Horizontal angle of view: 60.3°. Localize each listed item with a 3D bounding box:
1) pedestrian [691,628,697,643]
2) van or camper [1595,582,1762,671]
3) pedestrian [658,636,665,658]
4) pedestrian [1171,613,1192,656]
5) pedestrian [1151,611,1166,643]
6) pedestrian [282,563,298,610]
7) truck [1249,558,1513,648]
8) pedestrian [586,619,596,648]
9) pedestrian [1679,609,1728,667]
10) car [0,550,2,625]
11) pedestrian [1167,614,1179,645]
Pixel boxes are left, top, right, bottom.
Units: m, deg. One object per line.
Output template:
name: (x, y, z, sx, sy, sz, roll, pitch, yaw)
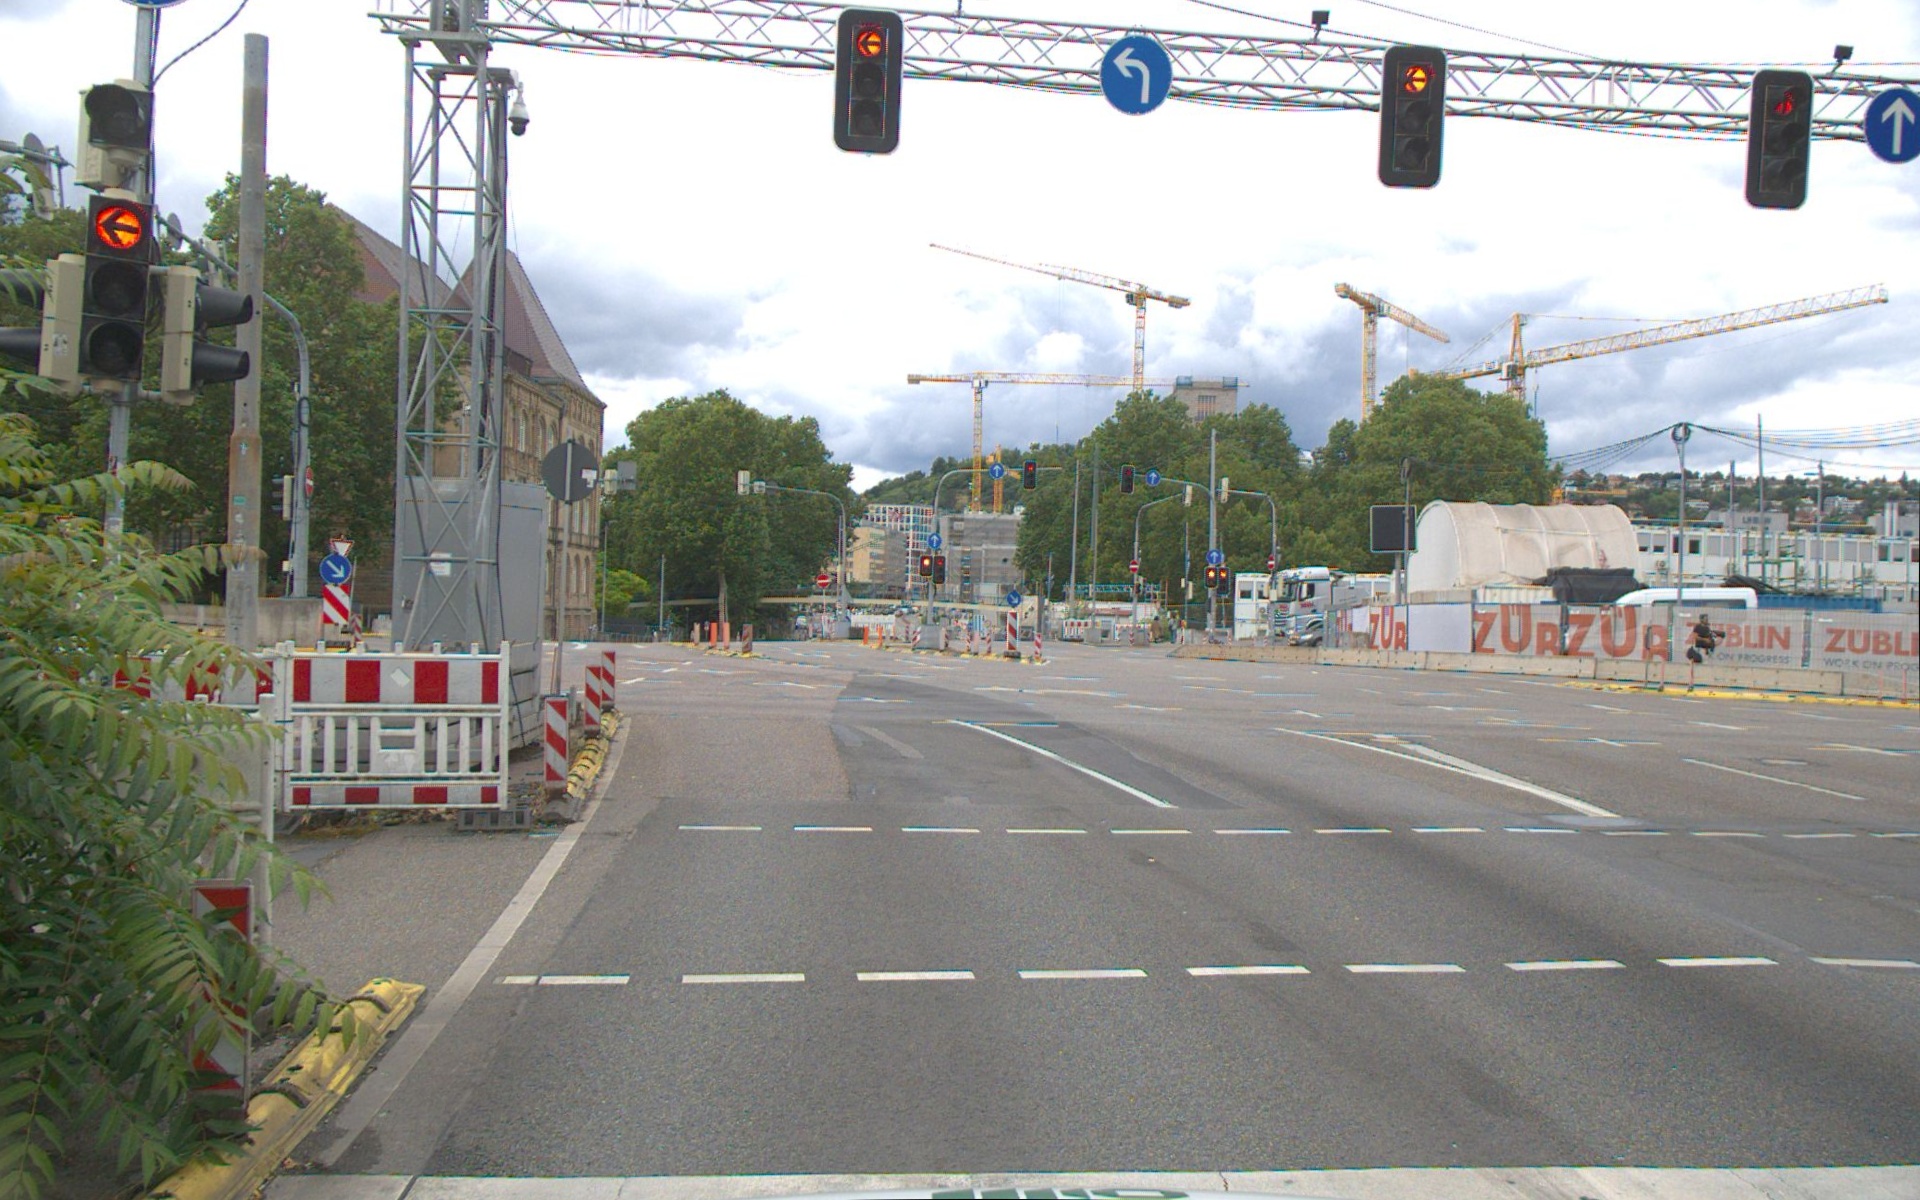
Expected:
pedestrian: (-28.345, 3.797, 176.204, 0.525, 1.620, 0.515, 1, 0, -5)
van or camper: (20.731, 0.747, 47.901, 4.123, 2.398, 2.001, 1, 0, 14)
pedestrian: (-27.737, 4.376, 153.590, 0.513, 2.049, 0.566, 1, 0, -1)
pedestrian: (9.068, 1.411, 67.602, 0.714, 1.718, 0.677, 2, 0, -1)
pedestrian: (11.067, 1.509, 92.342, 0.714, 1.718, 0.677, 2, 0, -1)
pedestrian: (-29.508, -0.609, 72.843, 0.523, 2.049, 0.421, 2, 0, -44)
truck: (20.999, 0.173, 82.310, 12.837, 4.111, 3.927, 1, 0, -21)
pedestrian: (-26.629, 2.405, 119.287, 0.513, 2.049, 0.566, 1, 0, -1)
pedestrian: (18.823, 0.957, 41.867, 0.889, 1.402, 0.794, 2, 0, 42)
car: (-19.704, -0.125, 29.339, 4.239, 1.705, 1.993, 2, 0, -14)
pedestrian: (11.886, 1.647, 92.441, 0.555, 1.718, 0.471, 2, 0, -1)
